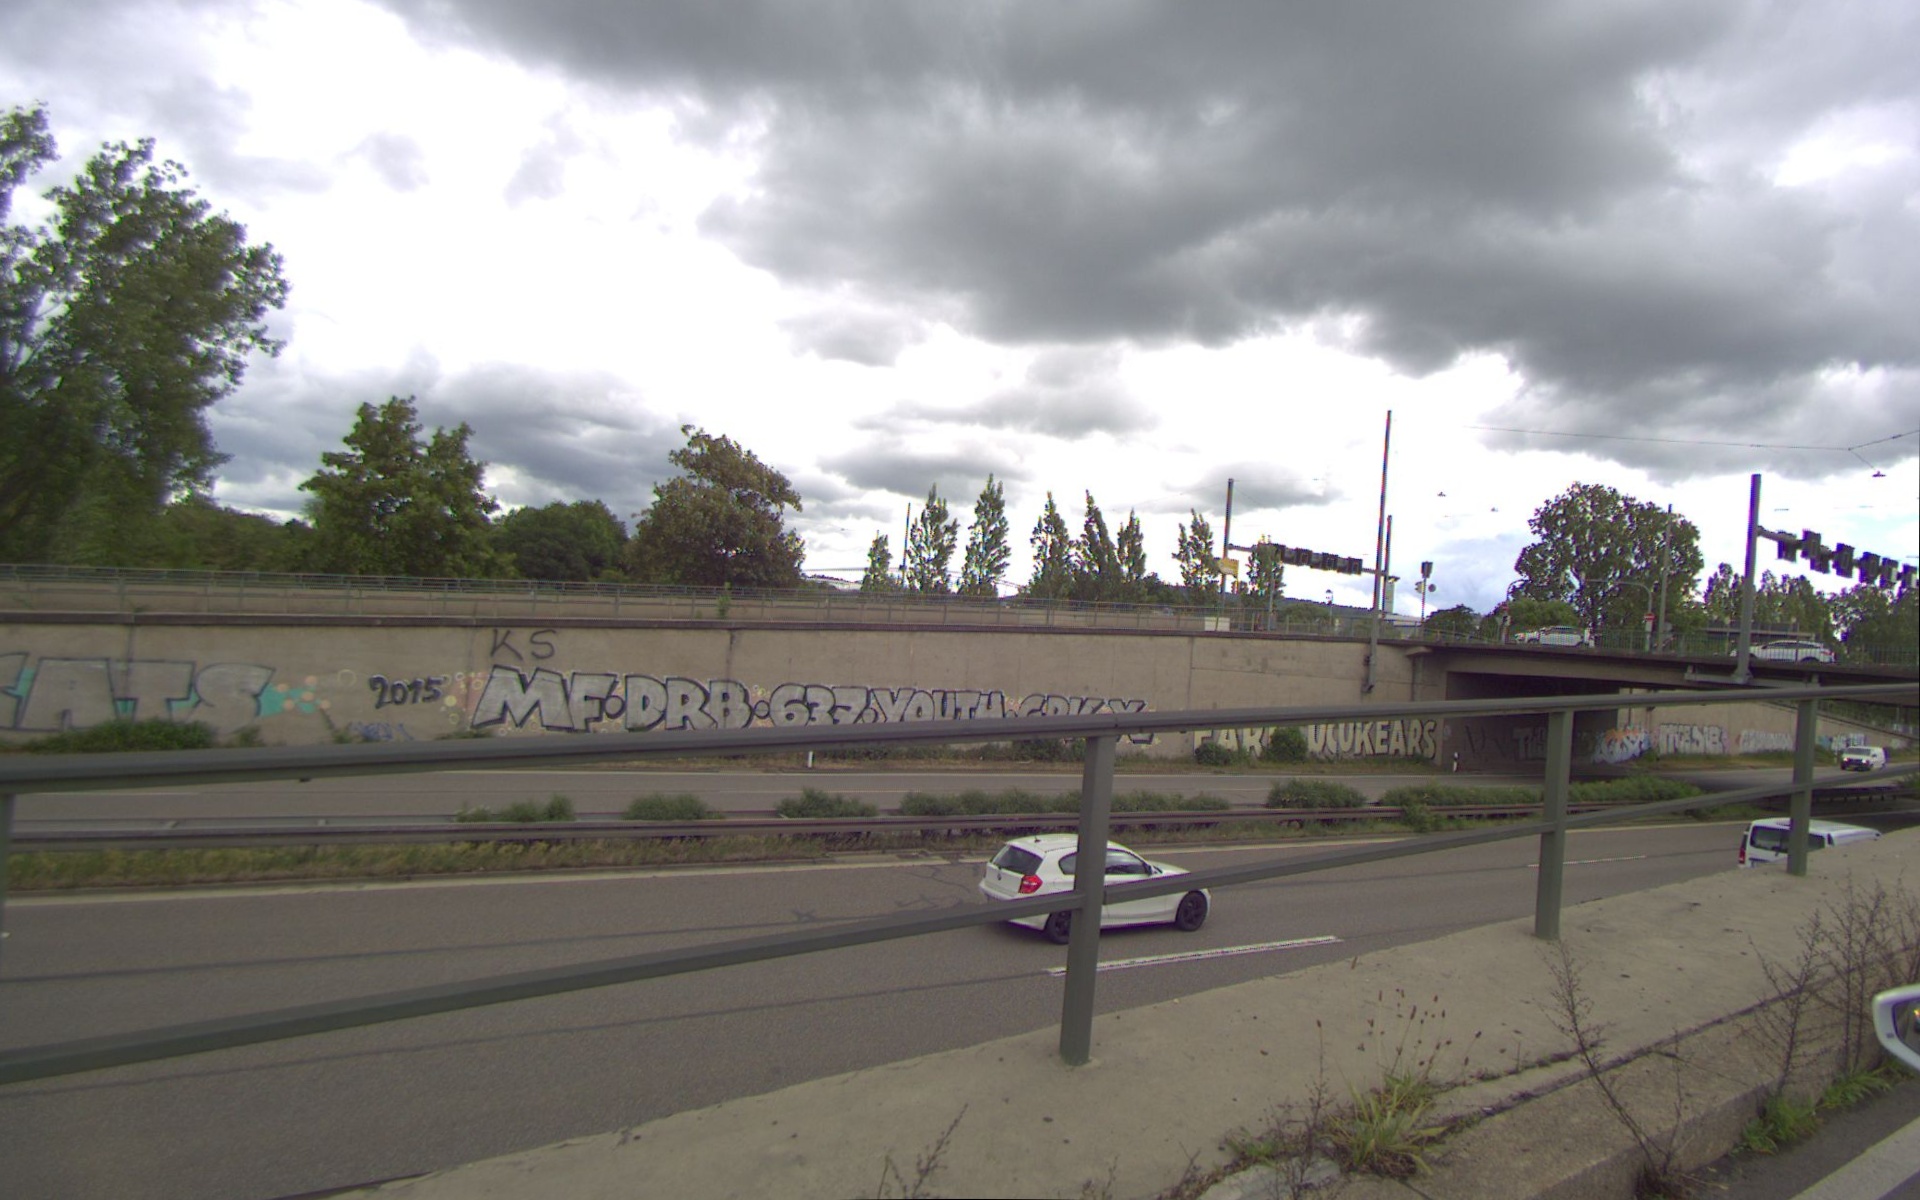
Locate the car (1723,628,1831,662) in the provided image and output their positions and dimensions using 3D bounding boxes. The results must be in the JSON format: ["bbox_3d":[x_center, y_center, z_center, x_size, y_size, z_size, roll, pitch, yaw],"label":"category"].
[{"bbox_3d":[44.143,2.393,54.333,1.826,1.597,4.291,2,-1,-43],"label":"car"}]

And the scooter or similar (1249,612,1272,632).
[{"bbox_3d":[18.126,1.304,60.581,1.403,1.108,0.539,5,-2,-36],"label":"scooter or similar"}]

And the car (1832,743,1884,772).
[{"bbox_3d":[73.953,12.953,82.698,5.126,2.093,1.981,6,-2,-34],"label":"car"}]

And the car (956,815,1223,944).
[{"bbox_3d":[2.177,4.486,16.536,4.119,1.470,1.734,6,-3,-31],"label":"car"}]

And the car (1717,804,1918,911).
[{"bbox_3d":[20.249,5.939,23.654,5.141,1.900,1.984,7,-3,-30],"label":"car"}]

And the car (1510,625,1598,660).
[{"bbox_3d":[35.565,2.503,60.269,4.129,1.895,2.001,2,0,16],"label":"car"}]
